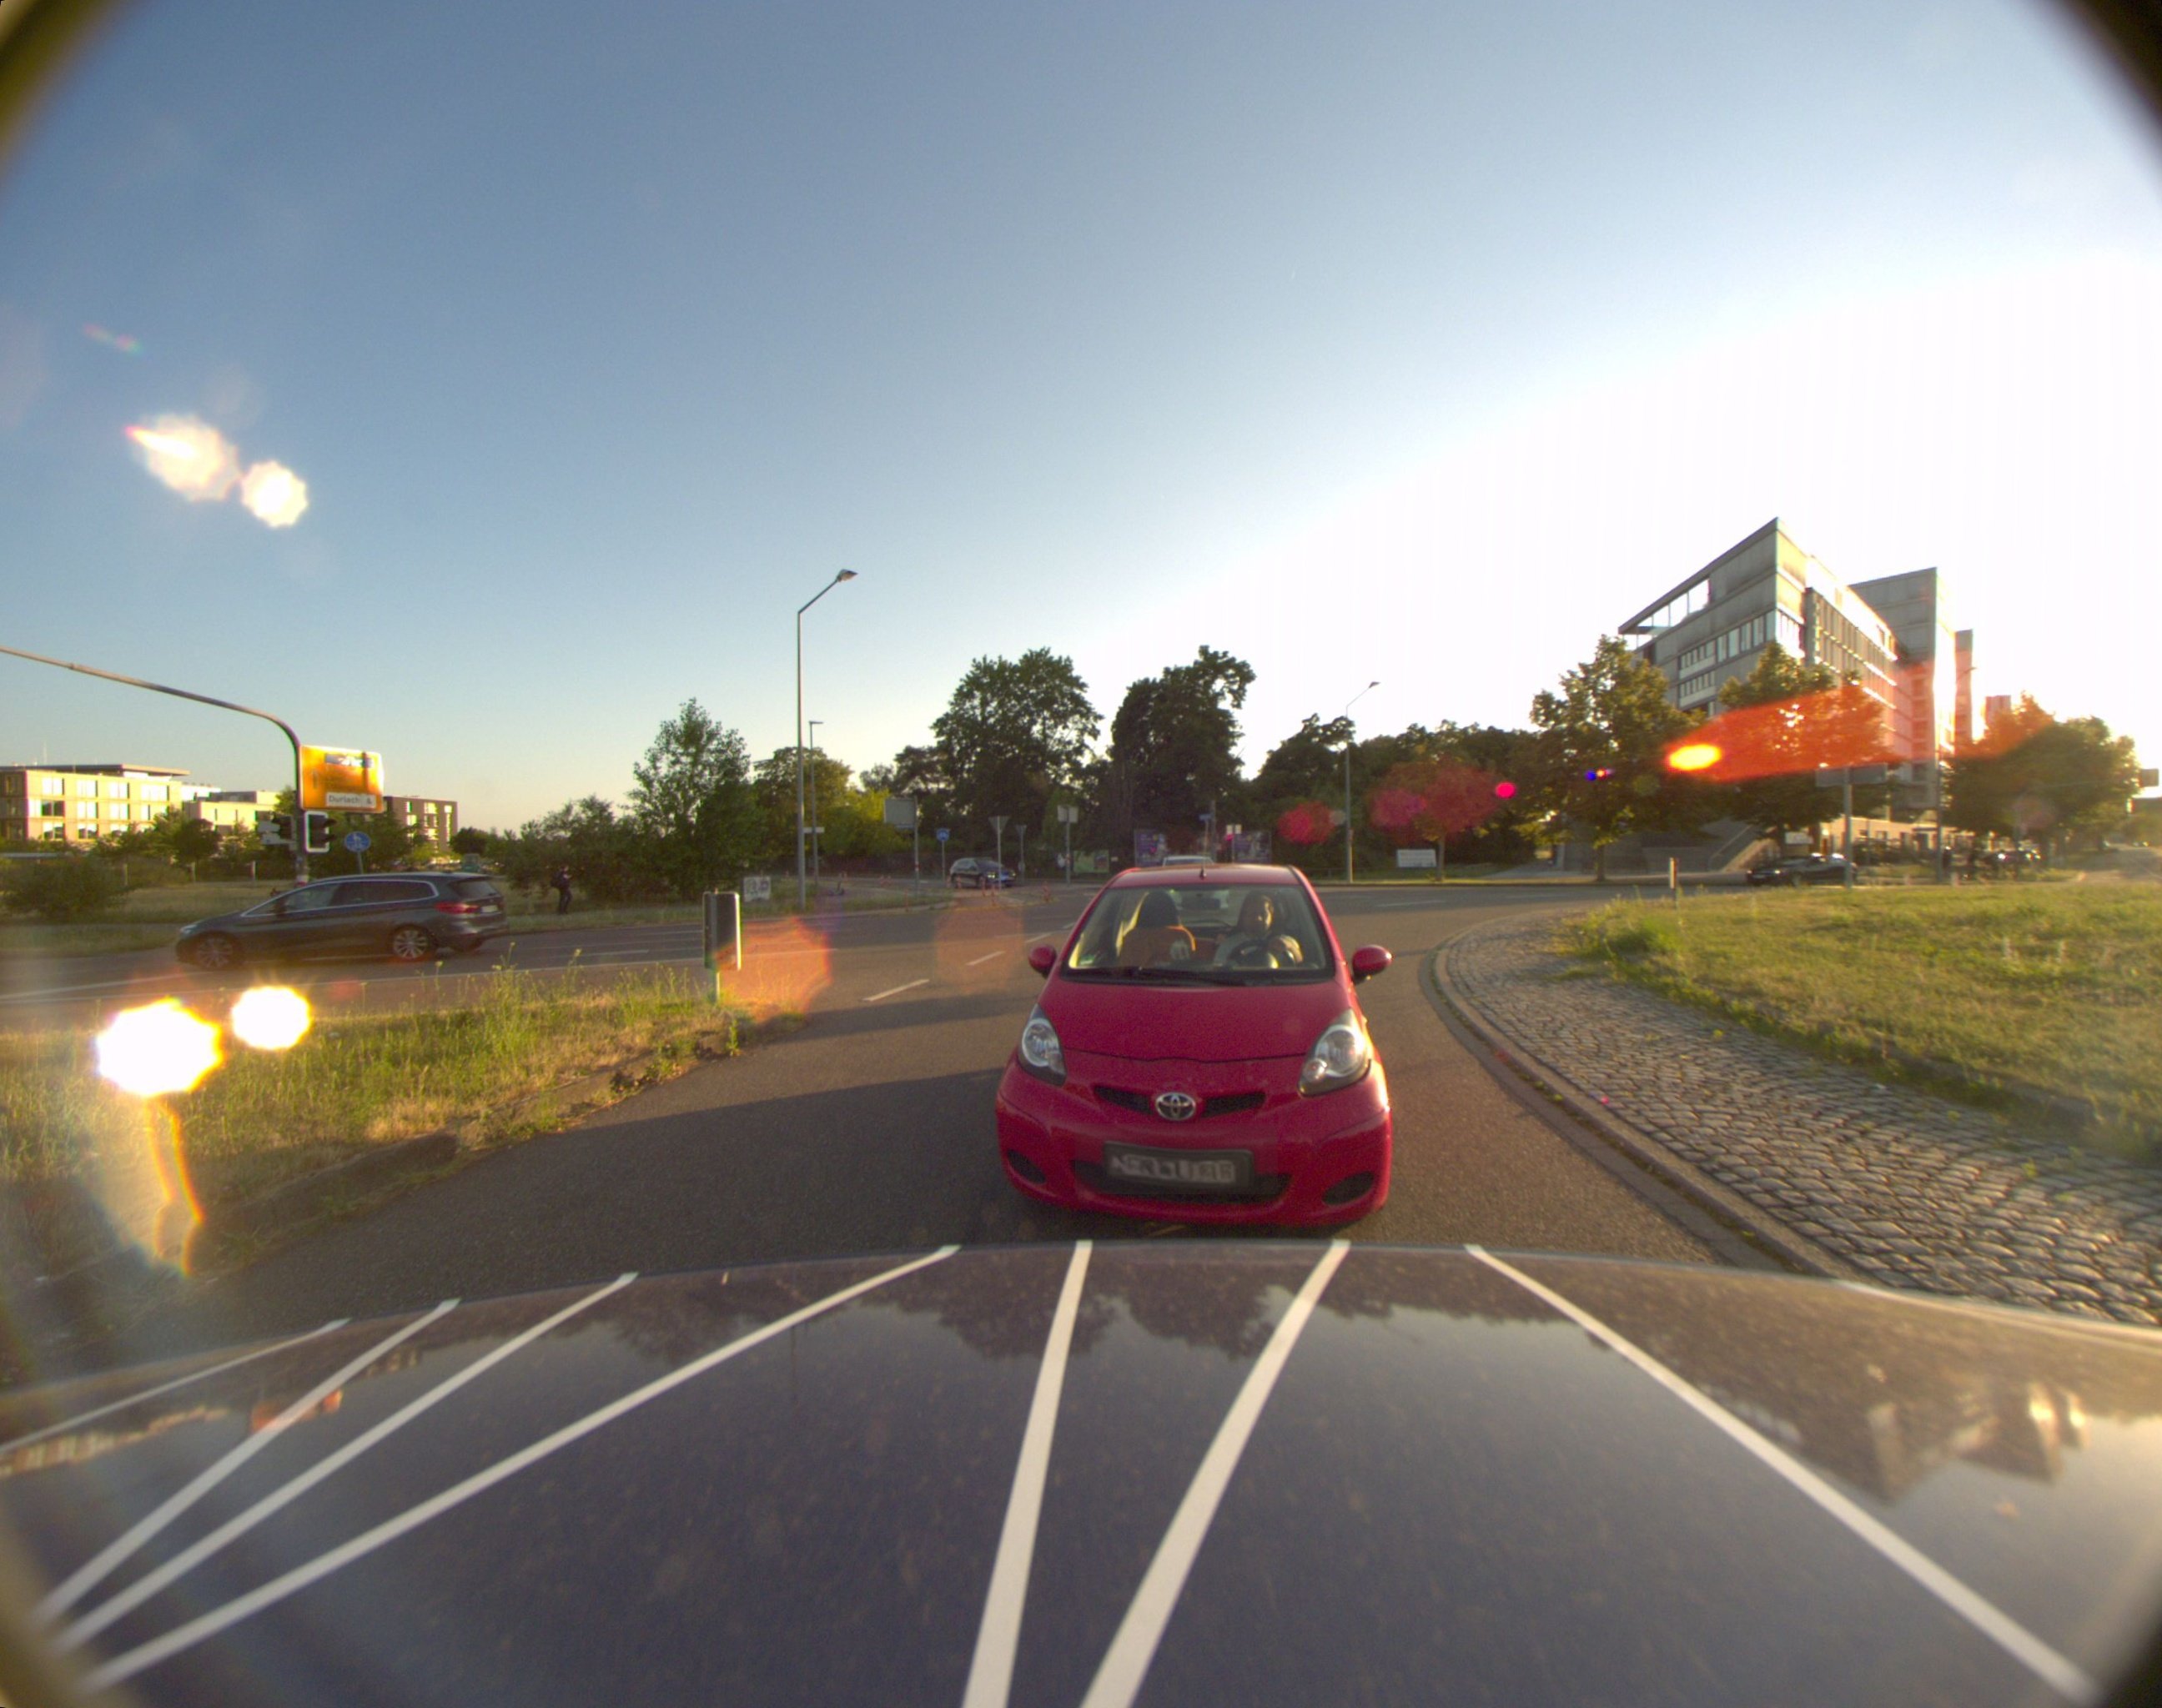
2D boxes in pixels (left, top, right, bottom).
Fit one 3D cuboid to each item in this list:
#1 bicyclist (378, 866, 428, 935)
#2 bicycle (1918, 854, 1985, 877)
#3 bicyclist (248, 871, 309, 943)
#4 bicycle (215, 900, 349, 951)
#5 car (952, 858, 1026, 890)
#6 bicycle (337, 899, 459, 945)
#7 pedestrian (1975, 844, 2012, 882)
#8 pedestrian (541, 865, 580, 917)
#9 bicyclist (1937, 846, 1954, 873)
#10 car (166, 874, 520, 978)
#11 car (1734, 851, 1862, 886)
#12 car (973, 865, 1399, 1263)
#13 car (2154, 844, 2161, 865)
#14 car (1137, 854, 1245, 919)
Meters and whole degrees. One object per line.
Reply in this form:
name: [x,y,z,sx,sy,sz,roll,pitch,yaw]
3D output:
bicyclist: [-17.149,1.160,19.224,0.723,1.680,0.690,-1,1,28]
bicycle: [47.150,0.622,41.186,0.744,1.237,2.341,-2,1,-41]
bicyclist: [-19.334,1.252,18.316,0.724,1.680,0.690,-1,1,12]
bicycle: [-19.275,1.693,18.403,0.708,0.958,2.109,-1,2,14]
car: [-5.026,1.040,40.962,2.004,1.588,4.302,-1,1,-38]
bicycle: [-17.164,1.674,19.164,0.708,0.957,2.149,-1,0,26]
pedestrian: [49.247,0.481,41.017,0.776,2.002,0.998,-2,1,-11]
pedestrian: [-16.725,1.168,24.431,0.993,1.581,0.924,-1,1,-33]
bicyclist: [46.971,0.304,41.270,0.693,1.432,0.610,-2,1,-42]
car: [-13.169,1.219,13.881,4.331,1.568,1.732,-1,1,-13]
car: [30.790,0.609,32.671,4.125,1.371,1.750,-1,0,-7]
car: [0.834,0.838,5.008,1.686,1.412,4.004,-1,0,13]
car: [79.991,0.022,55.276,4.008,1.444,1.994,-1,1,-39]
car: [2.955,0.830,21.326,2.000,1.597,4.195,-1,0,-6]
